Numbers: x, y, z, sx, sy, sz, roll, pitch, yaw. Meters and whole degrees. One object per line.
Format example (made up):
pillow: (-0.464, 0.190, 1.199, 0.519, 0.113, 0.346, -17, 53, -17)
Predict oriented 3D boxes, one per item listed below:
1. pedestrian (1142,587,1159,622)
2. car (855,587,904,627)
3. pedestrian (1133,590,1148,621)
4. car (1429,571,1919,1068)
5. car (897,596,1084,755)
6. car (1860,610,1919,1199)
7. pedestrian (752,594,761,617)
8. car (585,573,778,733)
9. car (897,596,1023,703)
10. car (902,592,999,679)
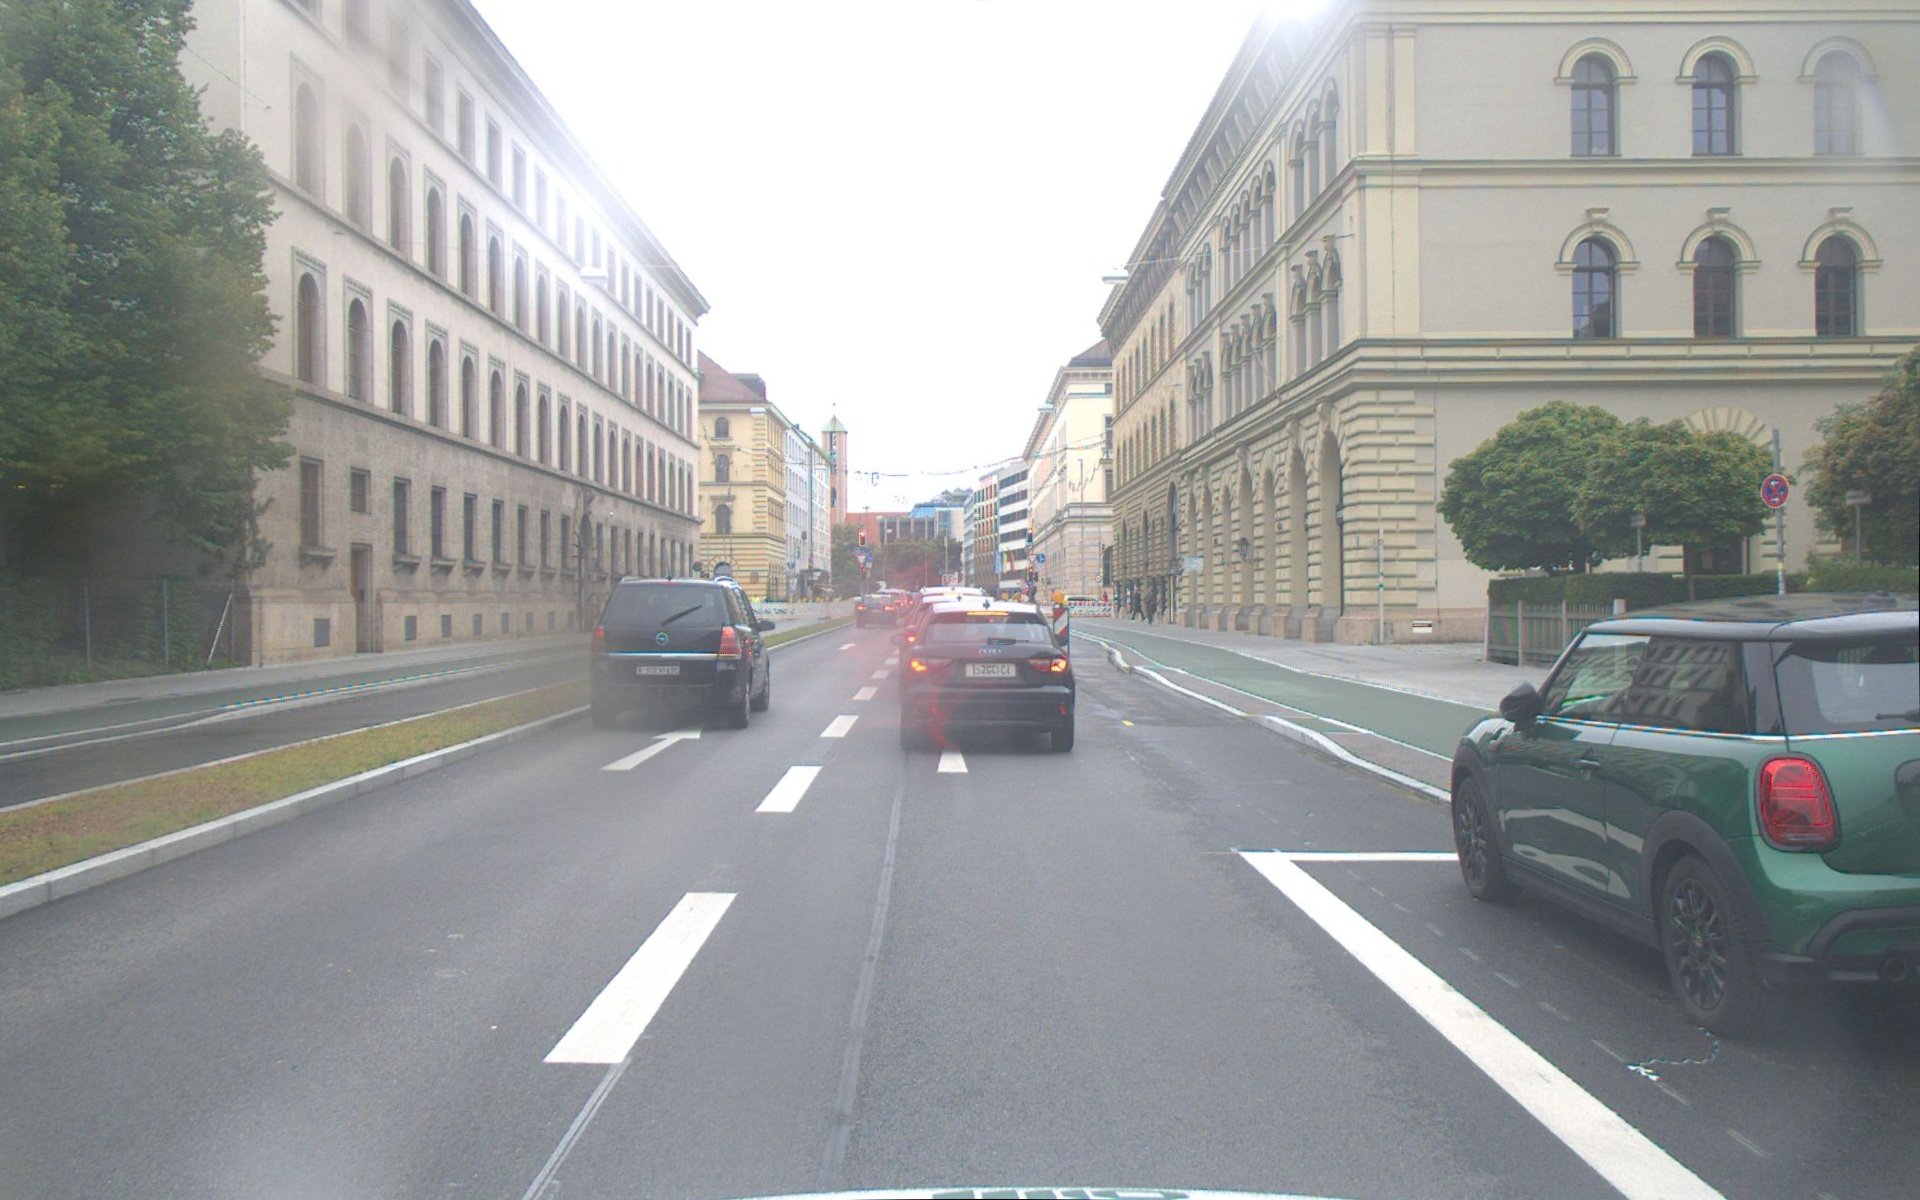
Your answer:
pedestrian: (9.061, 0.227, 78.792, 0.695, 1.646, 0.754, 0, 0, -1)
car: (-3.455, 0.273, 71.600, 1.953, 1.656, 4.000, 0, 0, 0)
pedestrian: (9.733, 0.292, 89.010, 0.695, 1.646, 0.754, 0, 0, -1)
car: (3.360, 0.684, 7.086, 1.640, 1.547, 3.830, 1, 0, 1)
car: (0.264, 0.687, 17.194, 1.695, 1.427, 4.000, 1, 0, -1)
car: (2.983, 0.761, 1.518, 1.788, 1.432, 4.720, 1, 0, 1)
pedestrian: (-16.588, 0.455, 135.074, 0.642, 1.836, 0.727, 0, 0, -1)
car: (-3.114, 0.541, 19.205, 1.729, 1.644, 4.027, 1, 0, -3)
car: (-0.012, 0.670, 24.609, 1.695, 1.427, 4.000, 1, 0, -1)
car: (-0.181, 0.618, 30.995, 1.695, 1.486, 4.000, 1, 0, -1)
